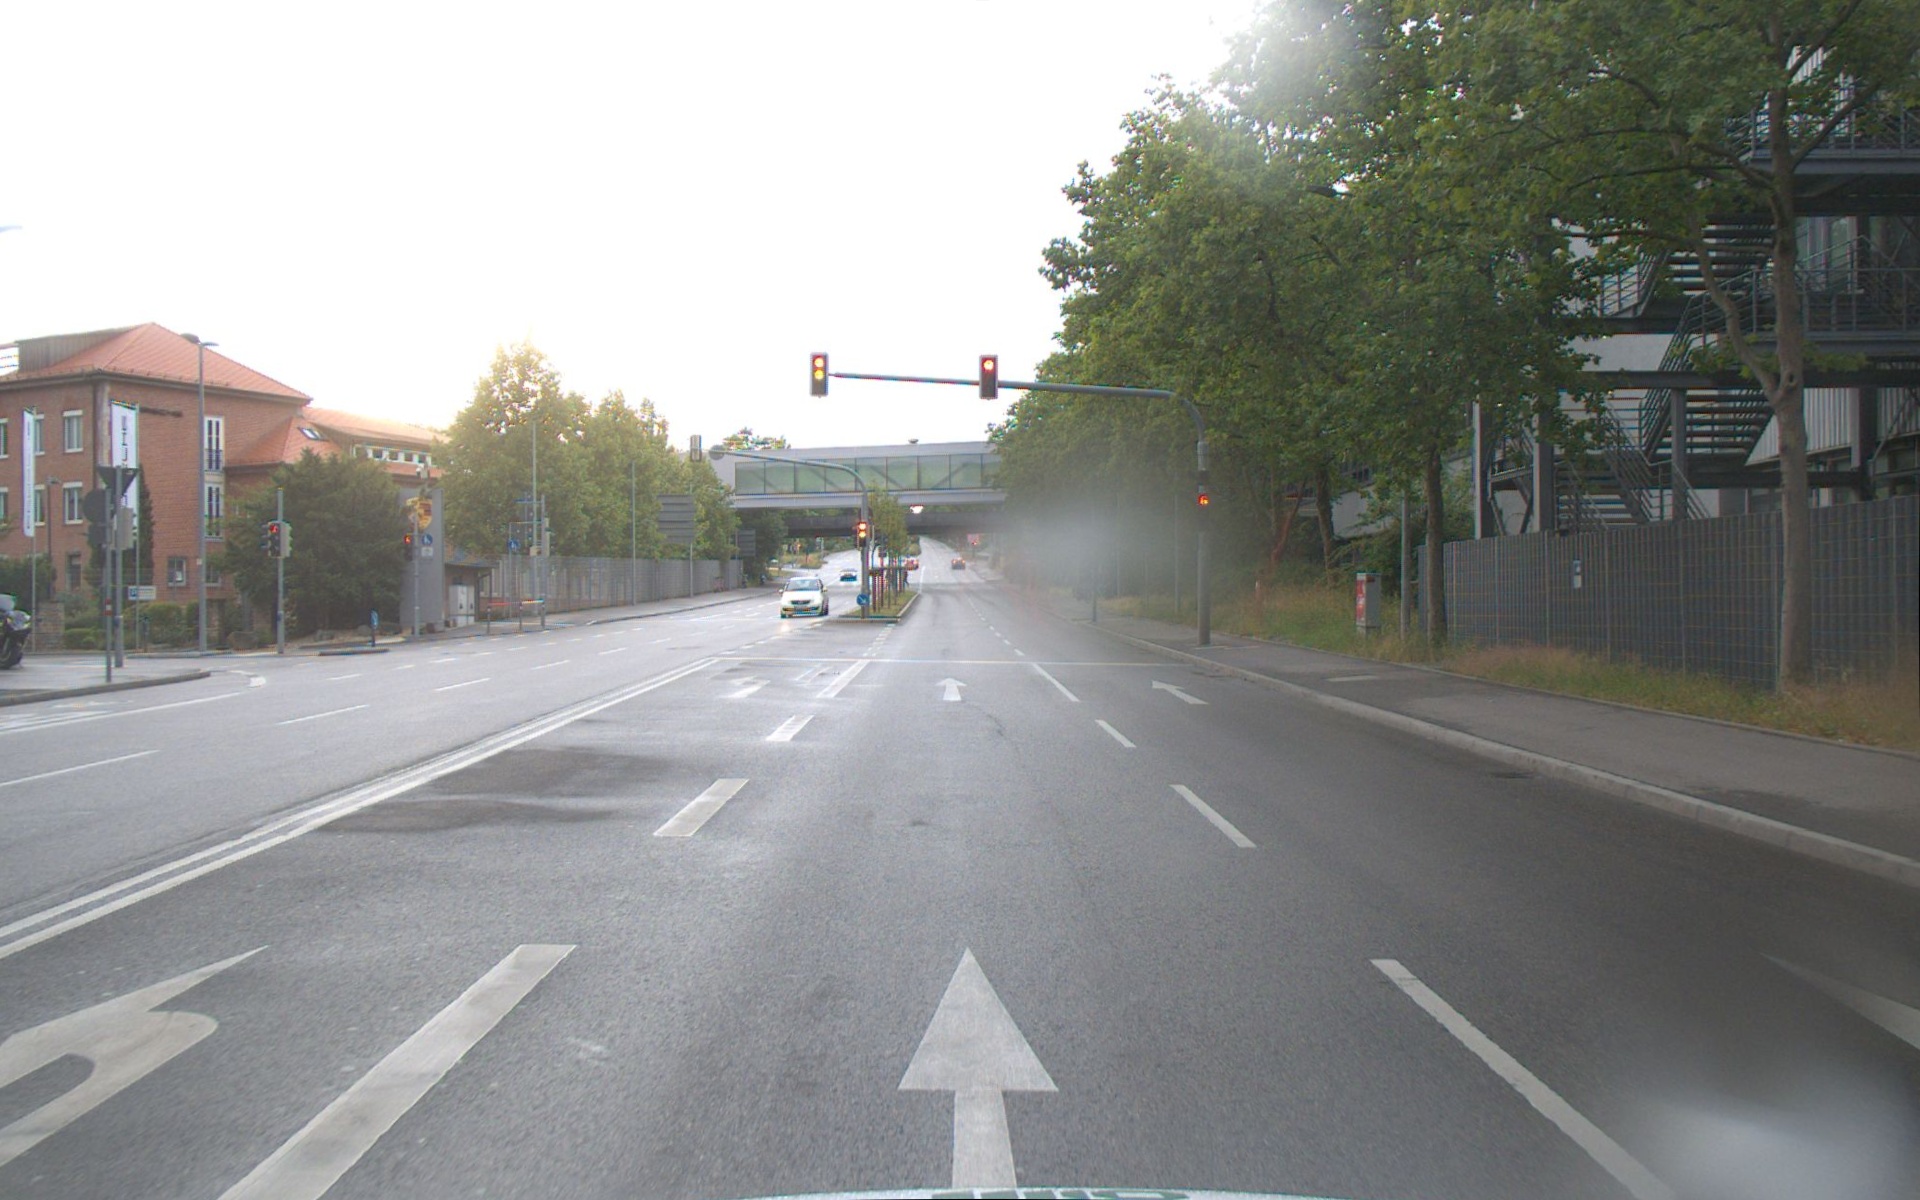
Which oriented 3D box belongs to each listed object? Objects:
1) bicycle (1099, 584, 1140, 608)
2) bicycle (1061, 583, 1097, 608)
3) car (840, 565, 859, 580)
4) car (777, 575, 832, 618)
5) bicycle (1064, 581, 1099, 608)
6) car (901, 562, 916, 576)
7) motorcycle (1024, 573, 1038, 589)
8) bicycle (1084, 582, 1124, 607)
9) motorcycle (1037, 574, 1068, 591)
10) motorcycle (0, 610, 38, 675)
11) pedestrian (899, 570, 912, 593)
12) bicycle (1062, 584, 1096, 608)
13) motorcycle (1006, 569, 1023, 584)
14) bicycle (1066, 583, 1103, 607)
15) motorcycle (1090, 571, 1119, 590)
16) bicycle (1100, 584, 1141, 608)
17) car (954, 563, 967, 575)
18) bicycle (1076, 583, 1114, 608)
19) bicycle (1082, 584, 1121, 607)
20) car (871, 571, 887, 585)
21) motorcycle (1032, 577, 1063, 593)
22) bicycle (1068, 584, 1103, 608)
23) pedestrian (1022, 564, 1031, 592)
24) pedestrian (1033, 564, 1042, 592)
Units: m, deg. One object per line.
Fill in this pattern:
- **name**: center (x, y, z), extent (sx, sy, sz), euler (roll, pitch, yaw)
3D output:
- **bicycle**: center (7.953, -0.208, 82.453), extent (1.949, 1.114, 0.541), euler (2, -1, 0)
- **bicycle**: center (6.764, -0.270, 93.906), extent (1.949, 1.352, 0.576), euler (2, -1, 0)
- **car**: center (-12.387, -3.079, 185.050), extent (1.839, 1.653, 3.778), euler (-1, 1, 0)
- **car**: center (-6.352, -0.156, 67.895), extent (1.839, 1.653, 3.778), euler (-1, 1, 0)
- **bicycle**: center (7.026, -0.314, 95.583), extent (1.949, 1.455, 0.723), euler (2, -1, 0)
- **car**: center (-7.273, -4.397, 234.657), extent (1.953, 1.792, 4.000), euler (2, 0, 0)
- **motorcycle**: center (6.375, -1.694, 148.455), extent (0.775, 1.334, 2.372), euler (-1, 0, -8)
- **bicycle**: center (7.281, -0.280, 83.911), extent (1.949, 1.237, 0.541), euler (2, -1, 0)
- **motorcycle**: center (7.072, -1.325, 126.356), extent (2.318, 1.223, 0.723), euler (-1, 0, 7)
- **motorcycle**: center (-19.230, 0.842, 33.683), extent (0.762, 1.239, 2.485), euler (-1, 0, -29)
- **pedestrian**: center (-4.925, -1.641, 149.820), extent (0.844, 2.039, 0.865), euler (-2, 0, -32)
- **bicycle**: center (6.995, -0.240, 97.148), extent (1.949, 1.352, 0.576), euler (2, -1, 0)
- **motorcycle**: center (5.048, -2.162, 153.507), extent (0.778, 1.334, 2.364), euler (-2, 0, -18)
- **bicycle**: center (6.852, -0.255, 91.191), extent (1.949, 1.263, 0.541), euler (2, -1, 0)
- **motorcycle**: center (11.800, -1.584, 135.067), extent (2.318, 1.502, 0.723), euler (-1, 0, 7)
- **bicycle**: center (7.954, -0.212, 81.884), extent (1.949, 1.114, 0.541), euler (2, -1, 0)
- **car**: center (0.058, -4.387, 231.062), extent (1.837, 1.523, 4.068), euler (2, 0, 0)
- **bicycle**: center (7.253, -0.259, 88.869), extent (1.949, 1.263, 0.541), euler (2, -1, 0)
- **bicycle**: center (7.324, -0.219, 85.518), extent (1.949, 1.114, 0.541), euler (2, -1, 0)
- **car**: center (-10.108, -2.786, 207.090), extent (1.839, 1.653, 3.778), euler (-1, 1, 0)
- **motorcycle**: center (6.844, -1.173, 129.568), extent (2.318, 1.223, 0.723), euler (-1, 0, 7)
- **bicycle**: center (7.318, -0.248, 96.438), extent (1.949, 1.352, 0.576), euler (2, -1, 0)
- **pedestrian**: center (4.992, -1.630, 123.725), extent (0.609, 2.049, 0.605), euler (-1, 0, 0)
- **pedestrian**: center (5.821, -1.633, 123.811), extent (0.609, 2.049, 0.605), euler (-1, 0, 0)
